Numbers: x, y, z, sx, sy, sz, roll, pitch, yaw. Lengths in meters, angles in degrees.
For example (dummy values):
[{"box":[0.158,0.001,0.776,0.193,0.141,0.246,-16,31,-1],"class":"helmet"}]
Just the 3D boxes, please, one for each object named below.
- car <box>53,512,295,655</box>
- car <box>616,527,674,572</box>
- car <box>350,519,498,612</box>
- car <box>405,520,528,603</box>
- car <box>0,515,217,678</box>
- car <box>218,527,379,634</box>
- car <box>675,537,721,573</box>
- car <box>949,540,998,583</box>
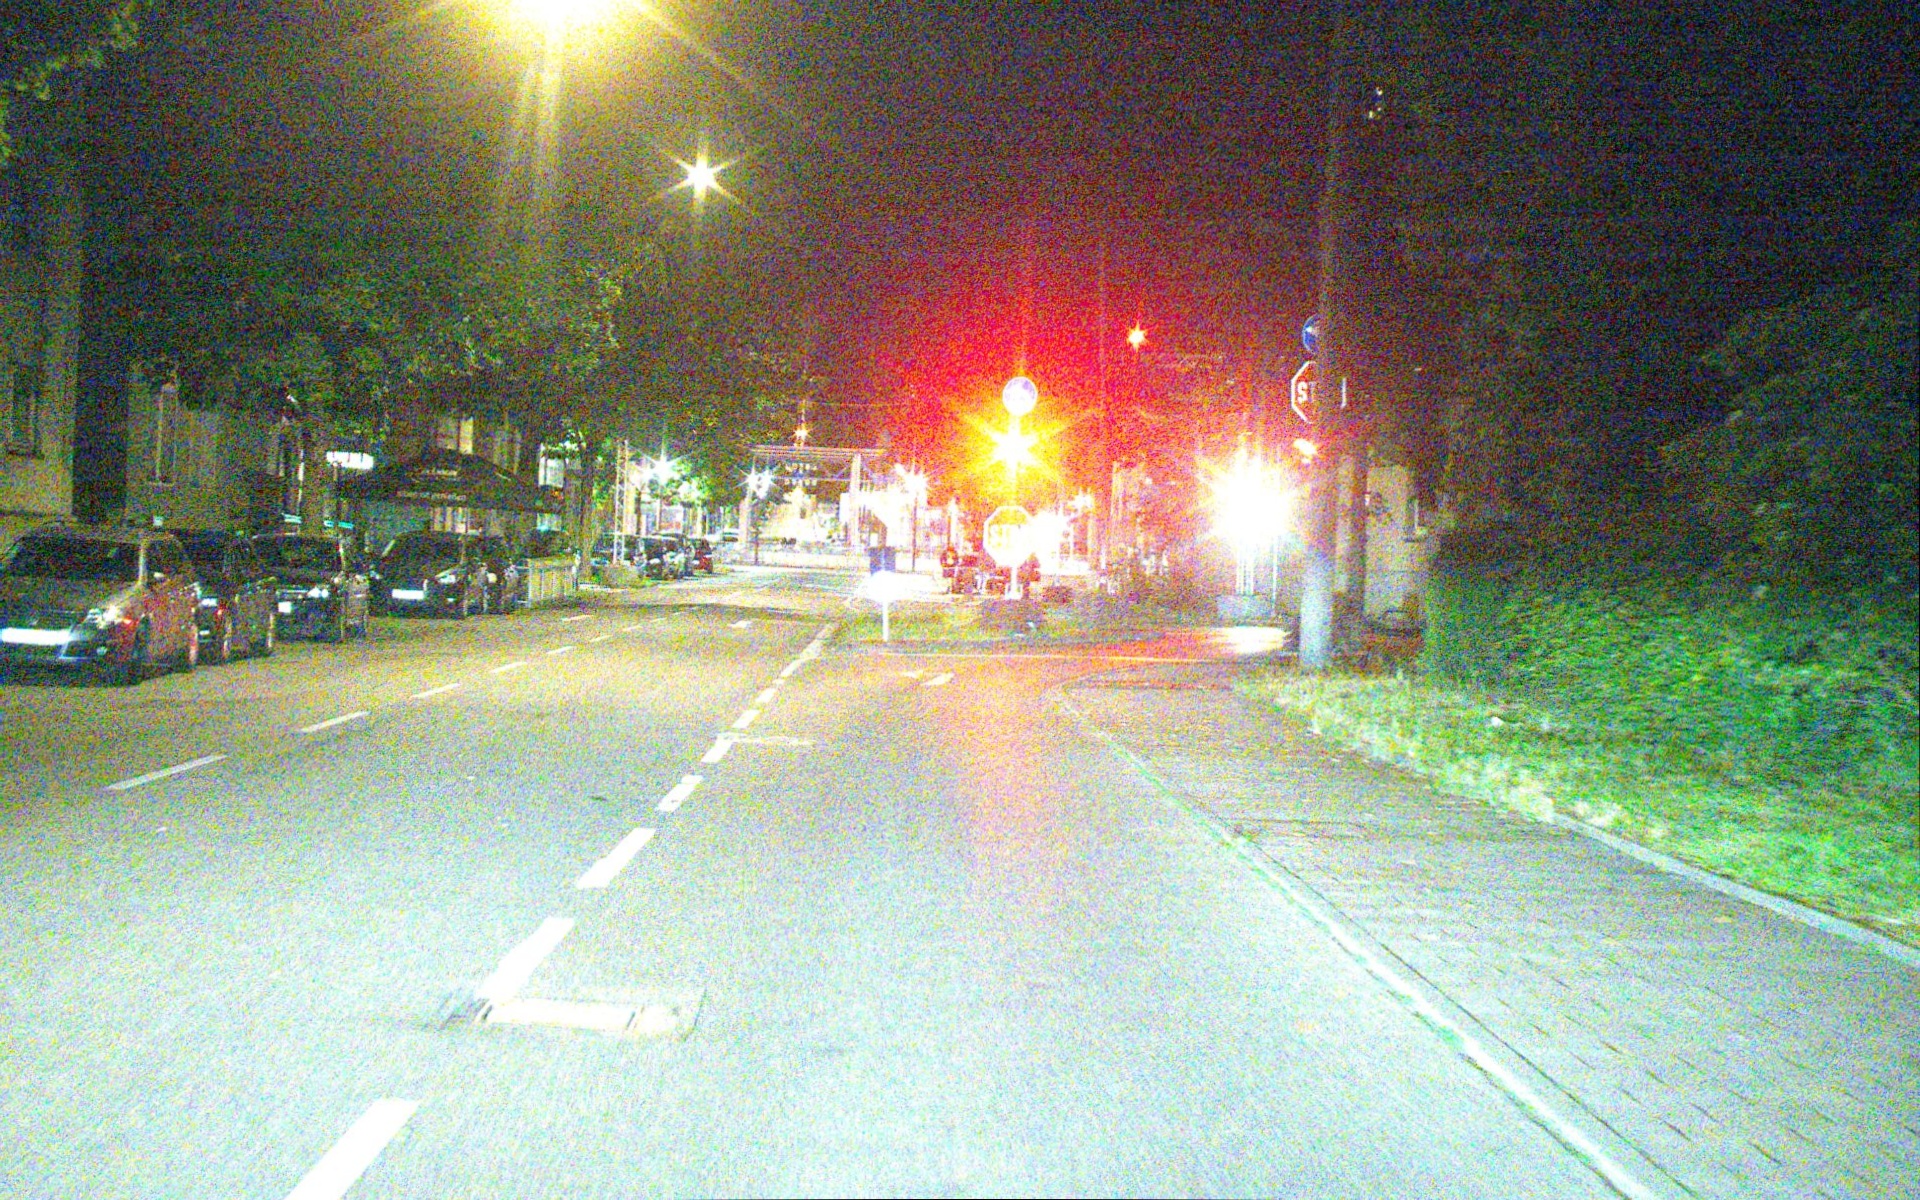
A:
[{"box":[-8.941,-0.202,39.461,1.768,1.480,4.864,2,1,-2],"class":"car"},{"box":[-10.664,-1.710,116.630,1.651,1.426,4.000,2,1,-1],"class":"car"},{"box":[-9.458,-0.632,60.957,1.899,1.466,4.452,4,1,-1],"class":"car"},{"box":[-9.430,-0.737,65.953,1.803,1.476,4.323,2,1,-2],"class":"car"},{"box":[-8.744,-0.064,34.422,1.768,1.480,4.768,2,1,-3],"class":"car"},{"box":[-9.144,-0.284,47.801,1.622,1.378,4.452,2,1,-4],"class":"car"},{"box":[-10.920,-1.877,143.265,1.651,1.426,4.000,2,1,-1],"class":"car"},{"box":[0.473,-1.337,119.244,1.651,1.426,4.000,2,1,0],"class":"car"}]
